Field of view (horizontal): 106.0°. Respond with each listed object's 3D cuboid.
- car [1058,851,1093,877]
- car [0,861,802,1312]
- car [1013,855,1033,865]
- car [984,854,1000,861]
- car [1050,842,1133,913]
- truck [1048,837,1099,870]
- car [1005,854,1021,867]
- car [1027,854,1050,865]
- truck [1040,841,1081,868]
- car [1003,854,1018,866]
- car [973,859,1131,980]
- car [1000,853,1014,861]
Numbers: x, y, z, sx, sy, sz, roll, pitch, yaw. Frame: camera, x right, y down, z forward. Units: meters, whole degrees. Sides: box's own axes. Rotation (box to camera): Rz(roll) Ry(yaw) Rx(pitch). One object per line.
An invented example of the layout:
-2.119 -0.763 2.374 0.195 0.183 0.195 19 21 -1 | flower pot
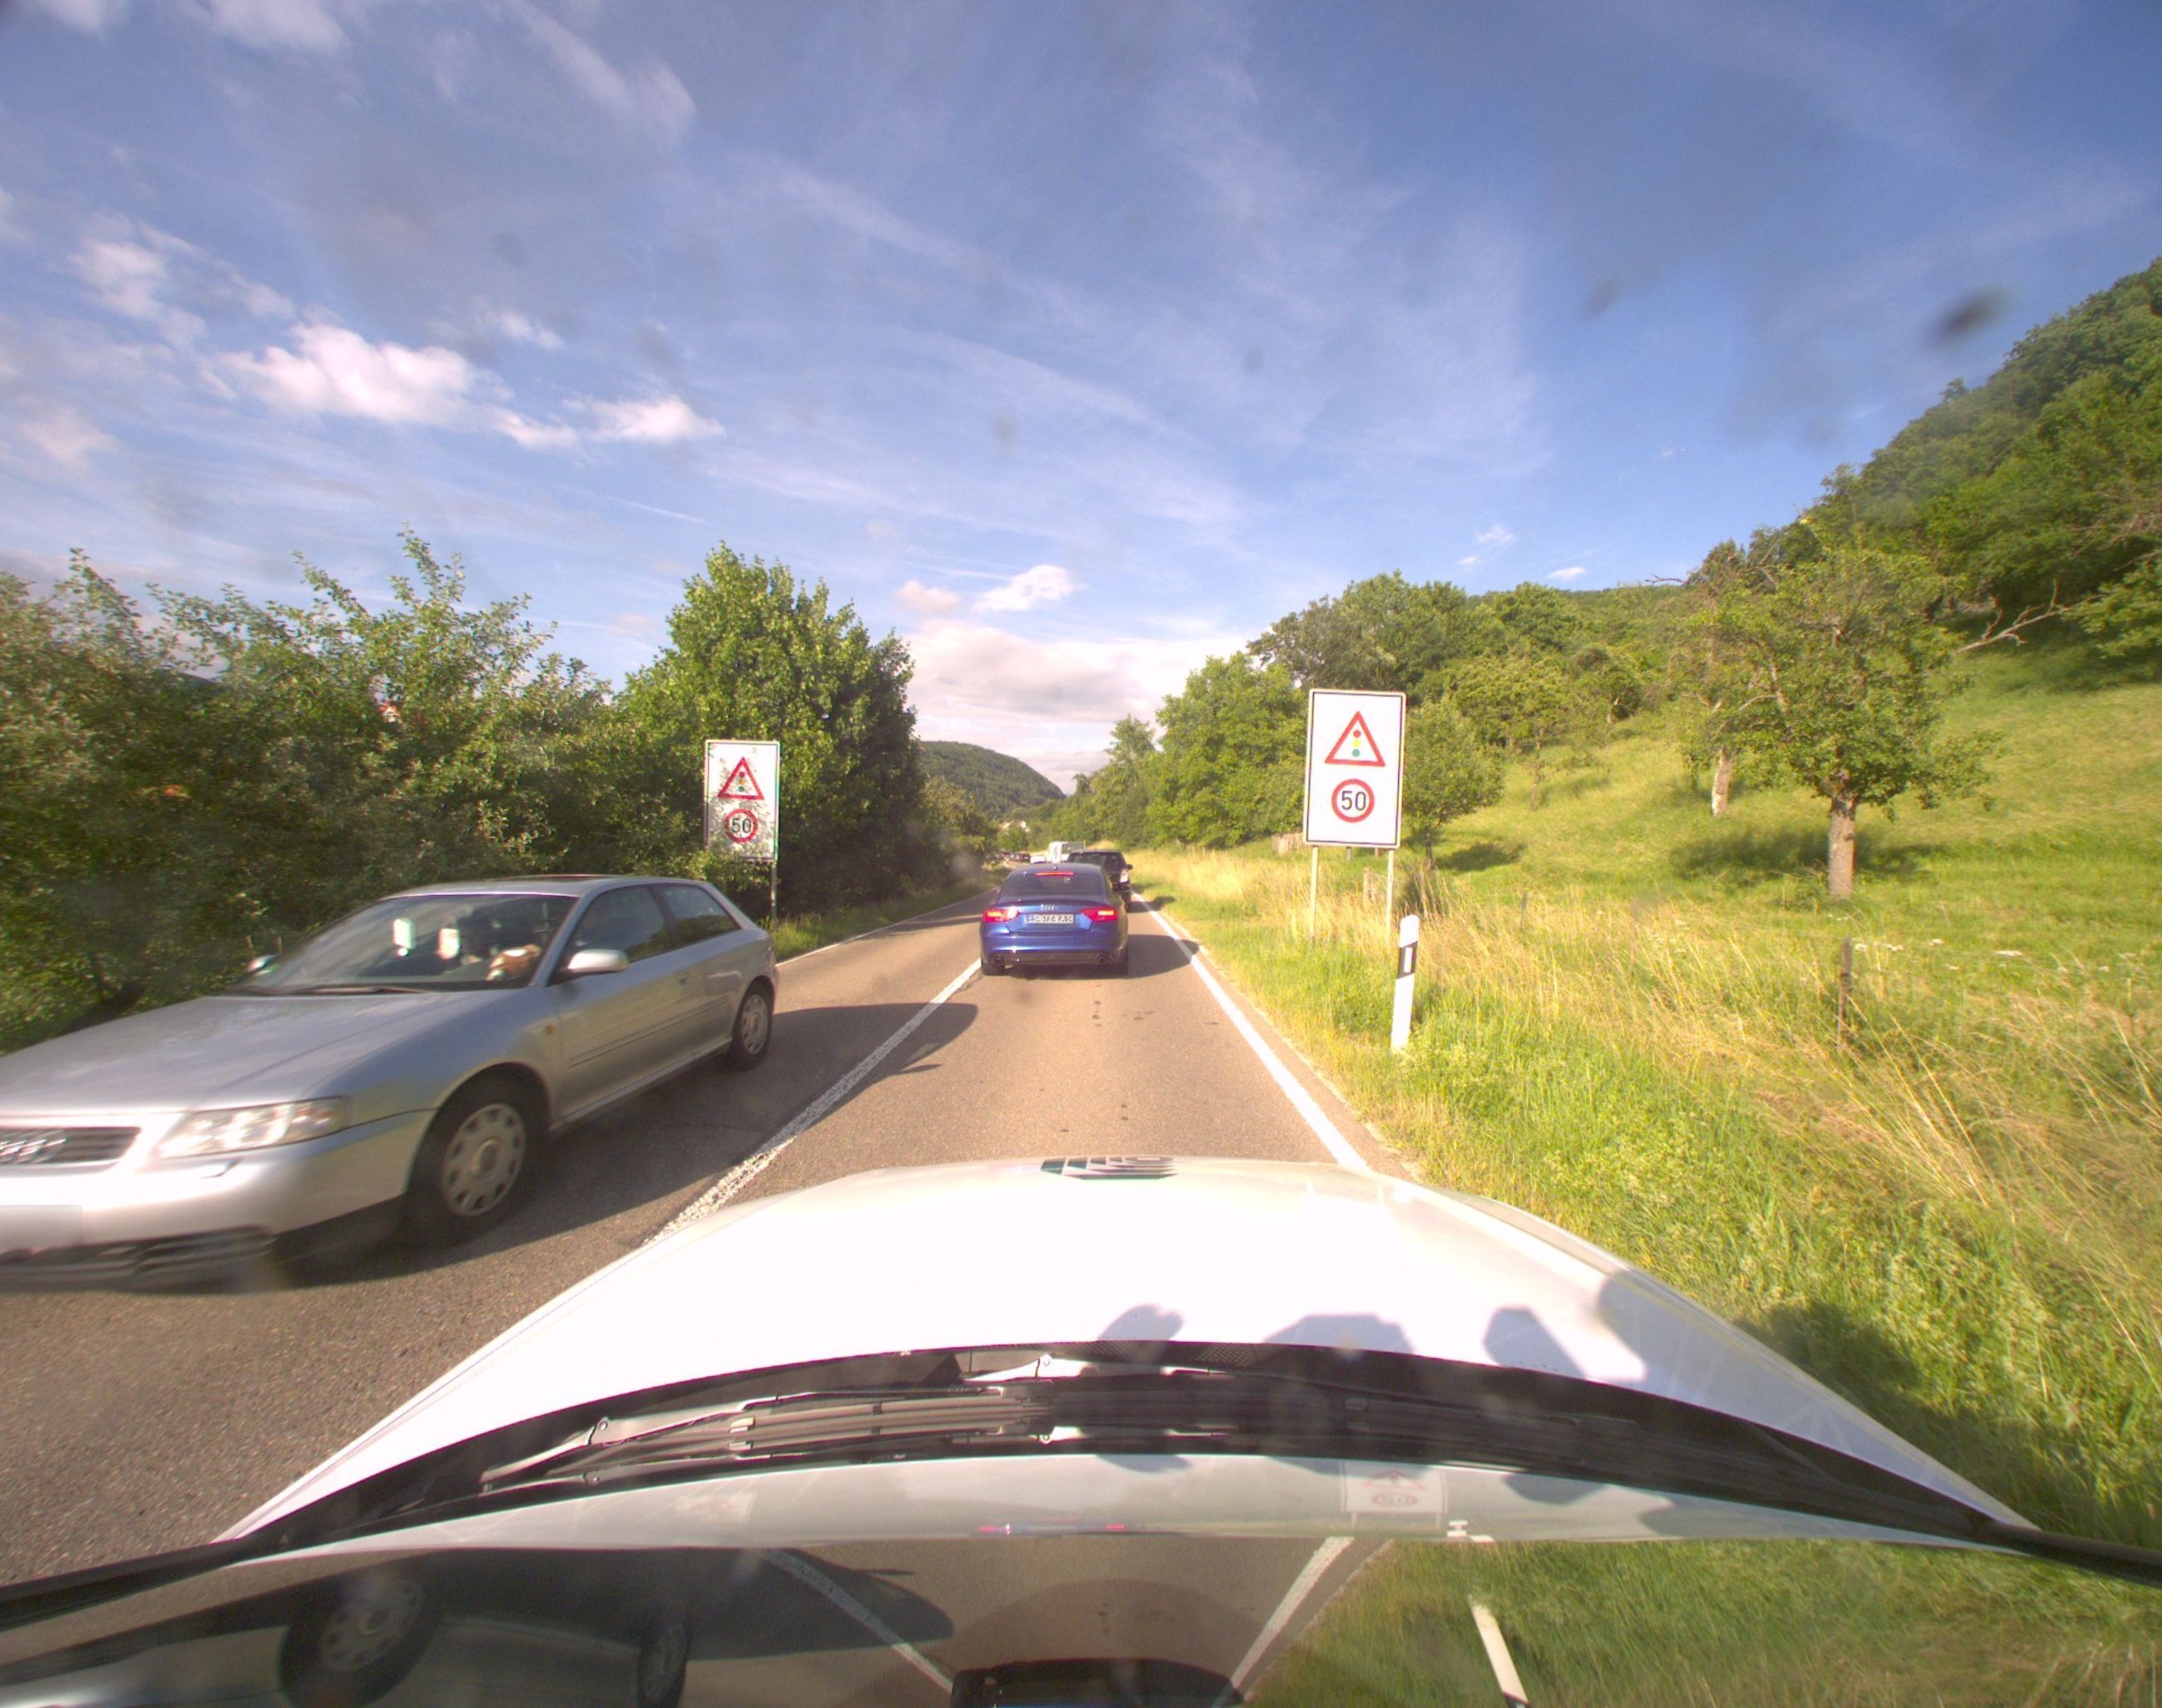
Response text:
-0.286 0.583 48.463 1.986 1.482 4.001 0 0 1 | car
-3.095 0.774 4.464 1.685 1.409 3.666 -1 0 3 | car
-8.652 0.897 121.581 2.000 1.482 3.974 0 -1 -19 | car
-17.441 0.696 159.409 2.001 1.482 3.971 0 -1 -21 | car
0.296 0.579 21.639 1.986 1.702 4.001 0 0 1 | car
-0.807 -0.023 70.795 2.864 2.665 10.358 0 0 -10 | truck
-11.026 1.055 131.758 1.997 2.014 3.980 0 -1 -15 | car
-5.717 0.786 109.561 2.000 1.482 3.974 0 -1 -19 | car
-2.242 0.043 84.189 2.864 2.665 10.609 0 0 -10 | truck
-12.255 0.985 141.153 1.996 2.014 3.981 0 -1 -13 | car
-0.259 0.762 11.242 1.787 1.360 4.002 0 0 2 | car
-13.345 0.569 146.841 1.997 1.482 3.979 0 0 -15 | car
